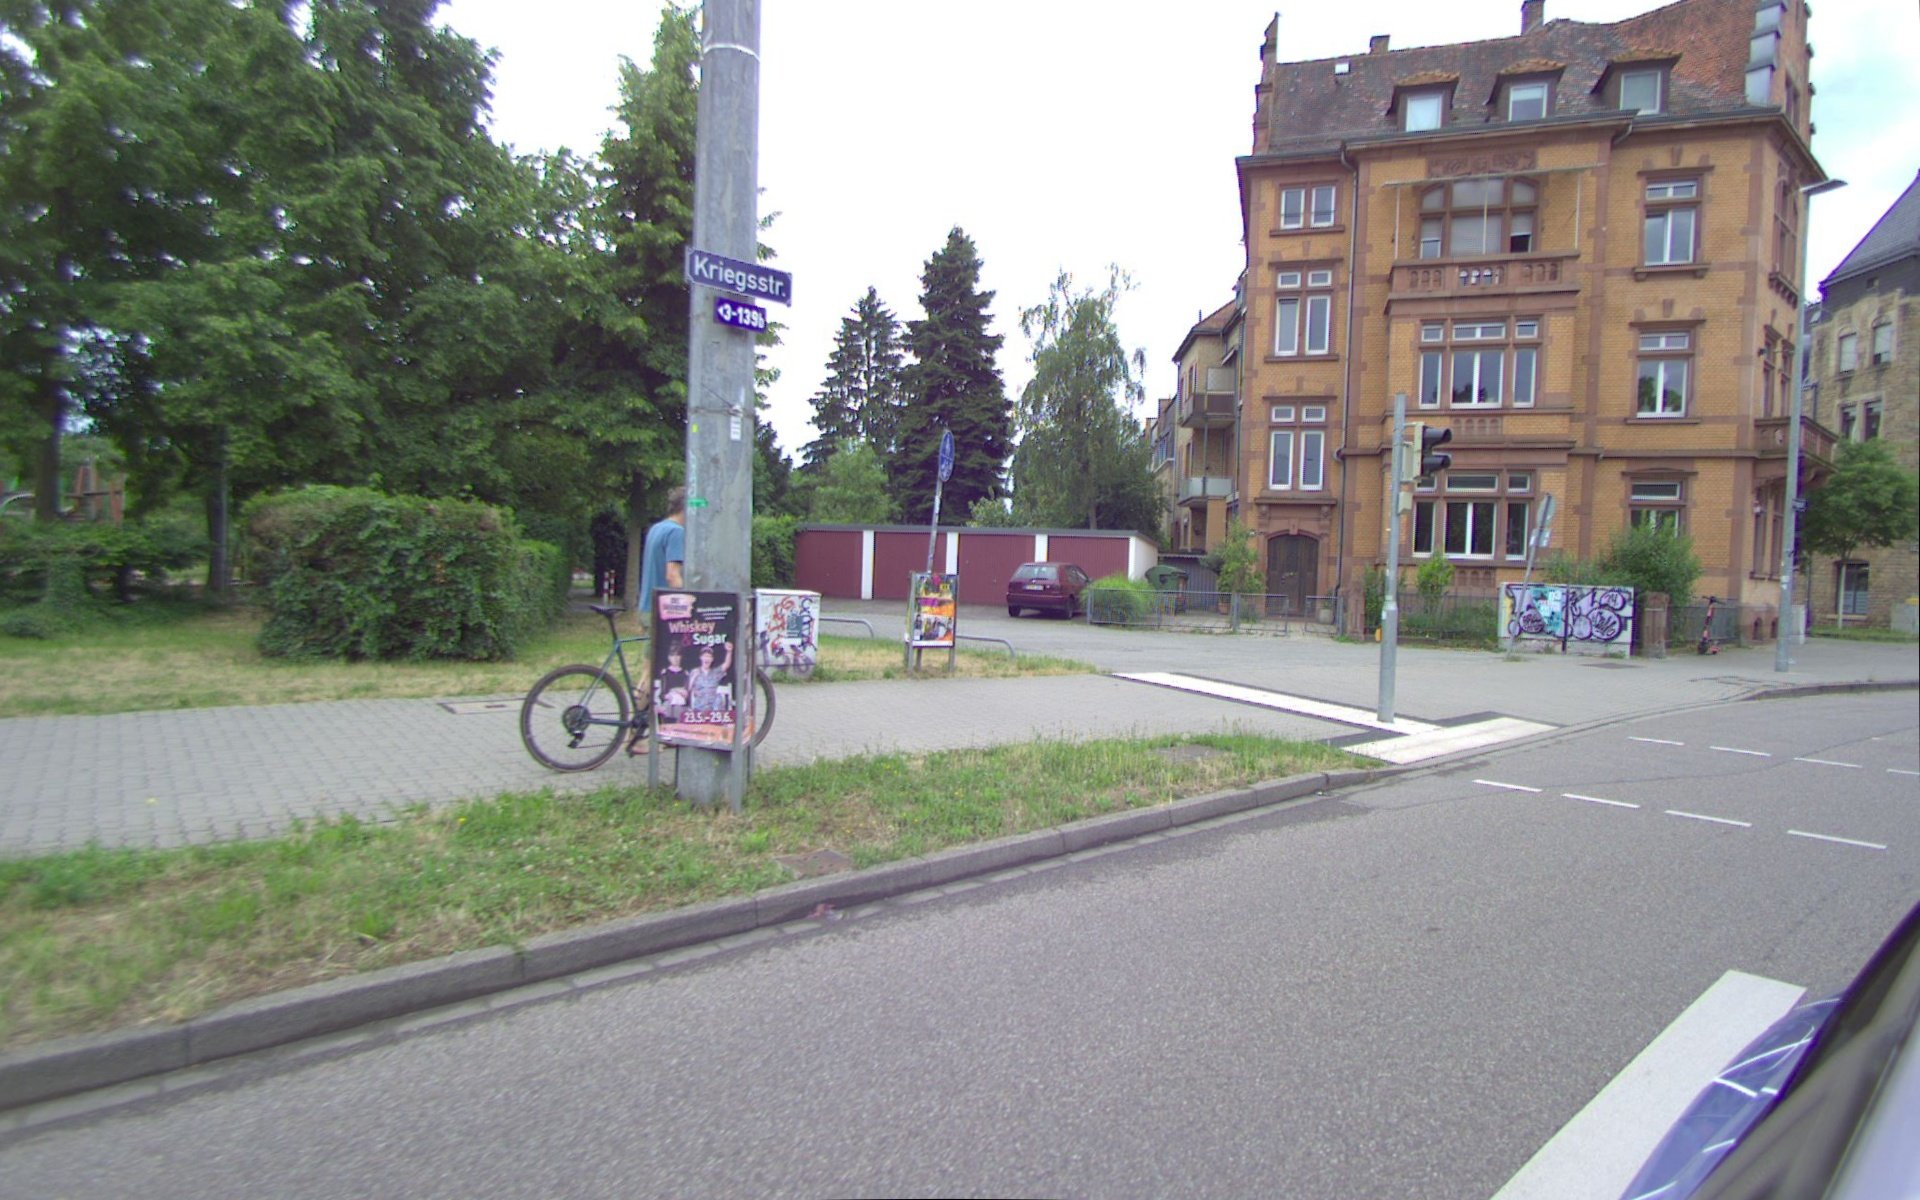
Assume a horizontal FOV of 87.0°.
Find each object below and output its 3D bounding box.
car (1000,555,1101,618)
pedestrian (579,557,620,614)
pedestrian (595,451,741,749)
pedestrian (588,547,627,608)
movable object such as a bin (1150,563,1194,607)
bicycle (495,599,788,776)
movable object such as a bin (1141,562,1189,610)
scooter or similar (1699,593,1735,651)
[{"bbox_3d":[2.434,-0.415,26.584,1.672,1.469,3.461,3,4,22],"label":"car"},{"bbox_3d":[-7.776,-0.320,21.837,0.616,1.197,0.591,2,1,8],"label":"pedestrian"},{"bbox_3d":[-2.003,-0.014,6.923,0.670,1.892,0.741,1,2,-41],"label":"pedestrian"},{"bbox_3d":[-8.174,-0.533,23.472,0.616,1.374,0.591,2,1,8],"label":"pedestrian"},{"bbox_3d":[7.011,-0.500,33.371,1.146,1.407,1.451,2,2,23],"label":"movable object such as a bin"},{"bbox_3d":[-2.093,0.519,6.793,1.748,1.015,0.655,0,2,-41],"label":"bicycle"},{"bbox_3d":[6.292,-0.436,30.978,1.146,1.407,1.451,2,2,23],"label":"movable object such as a bin"},{"bbox_3d":[15.854,0.448,21.184,1.179,1.155,0.376,0,2,-44],"label":"scooter or similar"}]
